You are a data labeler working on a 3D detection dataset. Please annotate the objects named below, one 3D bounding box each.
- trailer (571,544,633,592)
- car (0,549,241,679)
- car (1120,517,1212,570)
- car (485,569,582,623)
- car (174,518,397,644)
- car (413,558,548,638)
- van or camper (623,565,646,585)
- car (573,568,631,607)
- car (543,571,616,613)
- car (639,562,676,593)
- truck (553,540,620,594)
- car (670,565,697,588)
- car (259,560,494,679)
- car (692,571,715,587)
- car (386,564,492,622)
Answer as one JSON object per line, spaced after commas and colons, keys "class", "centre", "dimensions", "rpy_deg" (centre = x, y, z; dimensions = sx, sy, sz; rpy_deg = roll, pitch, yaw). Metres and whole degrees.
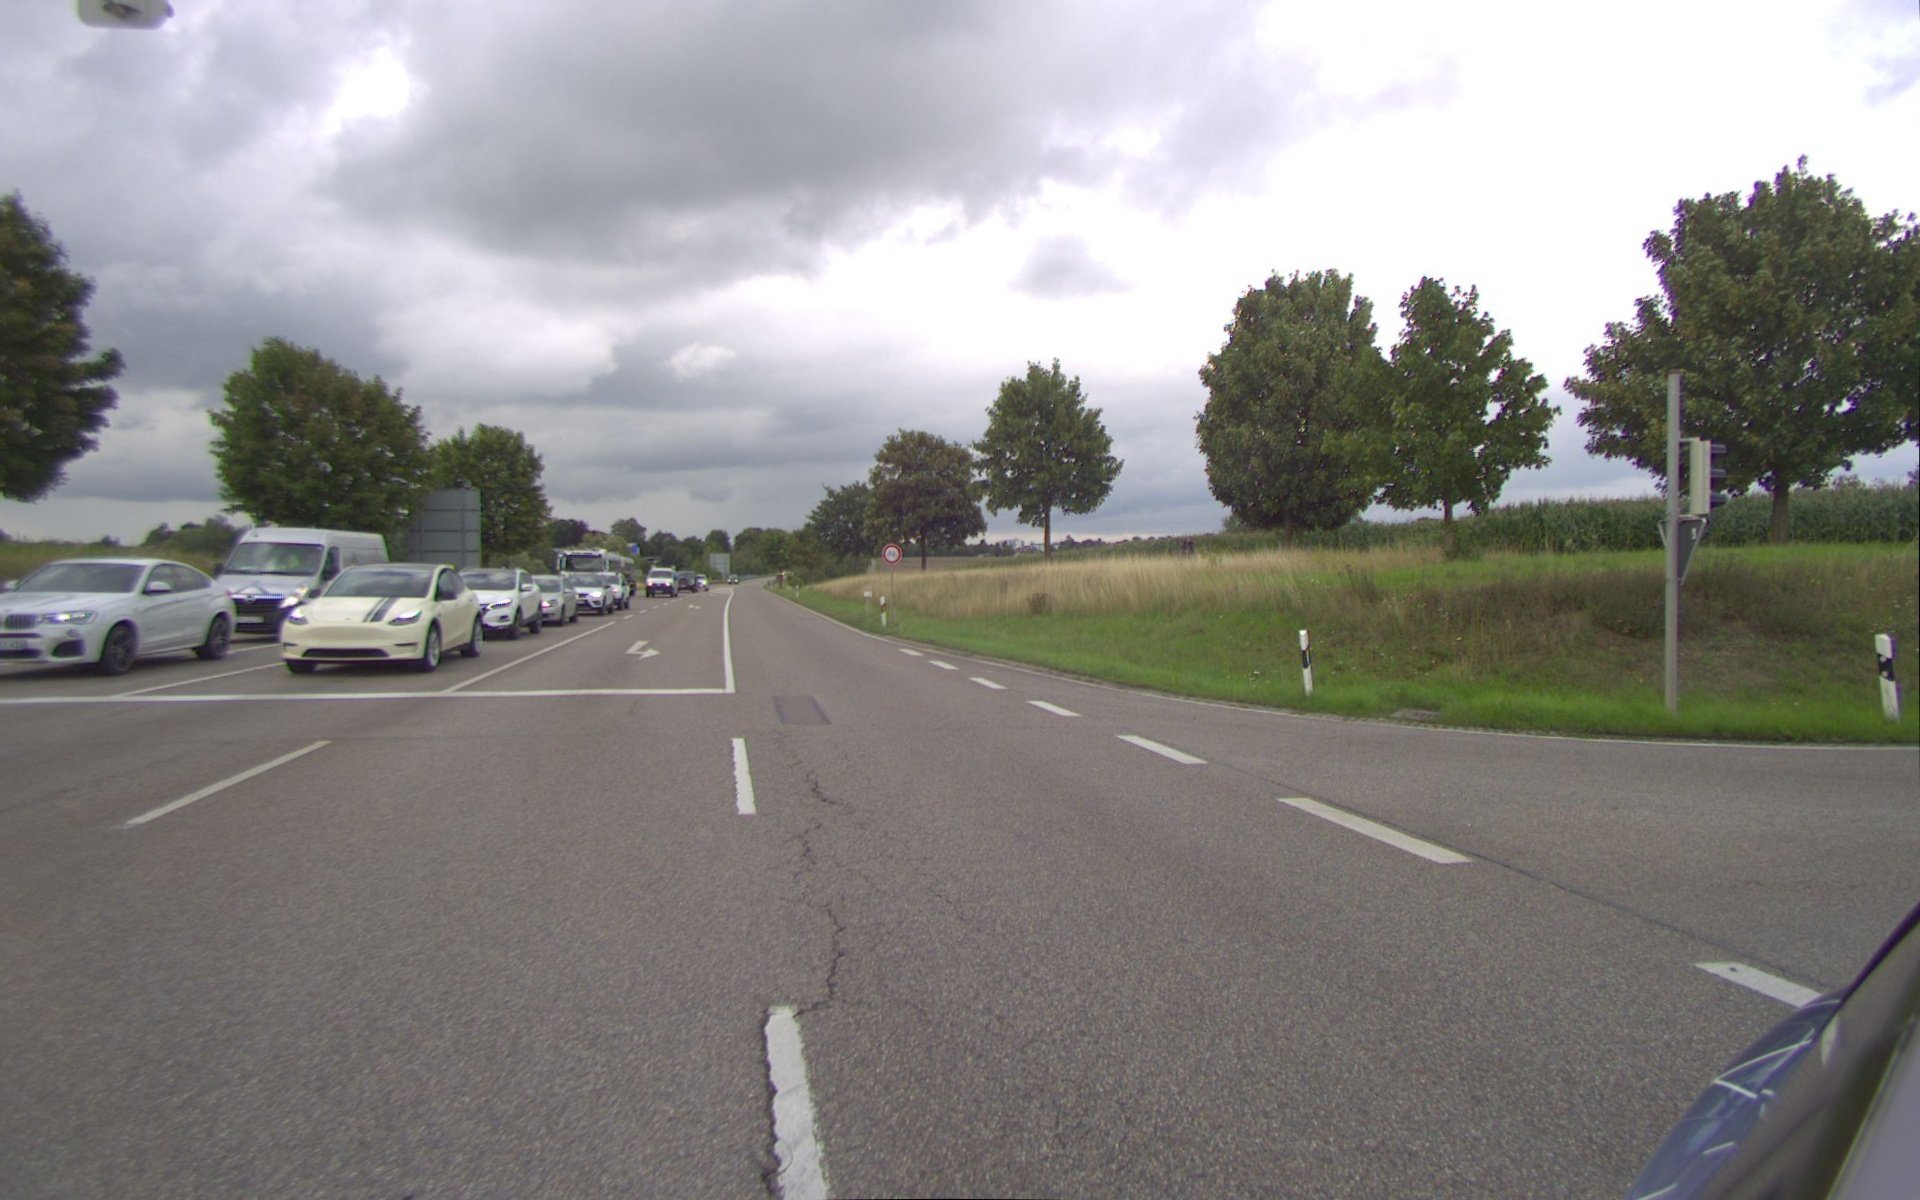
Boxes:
{"class": "trailer", "centre": [-25.176, -2.220, 71.577], "dimensions": [3.044, 3.129, 10.684], "rpy_deg": [0, 1, -13]}
{"class": "car", "centre": [-12.692, 0.127, 14.921], "dimensions": [1.958, 1.649, 4.284], "rpy_deg": [1, 1, -14]}
{"class": "car", "centre": [8.641, -2.354, 42.781], "dimensions": [1.958, 2.038, 4.009], "rpy_deg": [-2, 2, -21]}
{"class": "car", "centre": [-12.494, -0.161, 29.923], "dimensions": [1.958, 1.473, 4.591], "rpy_deg": [0, 1, -14]}
{"class": "car", "centre": [-14.962, -0.472, 22.946], "dimensions": [2.348, 2.472, 5.525], "rpy_deg": [-1, 2, -13]}
{"class": "car", "centre": [-11.032, -0.106, 23.614], "dimensions": [1.958, 1.649, 4.332], "rpy_deg": [-1, 2, -13]}
{"class": "van or camper", "centre": [-35.011, -2.683, 109.057], "dimensions": [1.958, 2.038, 4.008], "rpy_deg": [-2, 2, -13]}
{"class": "car", "centre": [-15.419, -0.572, 43.794], "dimensions": [1.958, 1.612, 4.457], "rpy_deg": [0, 1, -14]}
{"class": "car", "centre": [-14.099, -0.337, 37.739], "dimensions": [1.958, 1.436, 4.456], "rpy_deg": [0, 1, -12]}
{"class": "car", "centre": [-20.814, -1.543, 69.784], "dimensions": [2.125, 2.038, 4.690], "rpy_deg": [0, 1, -12]}
{"class": "truck", "centre": [-23.066, -2.007, 62.777], "dimensions": [3.044, 3.148, 7.423], "rpy_deg": [0, 1, -13]}
{"class": "car", "centre": [-24.862, -2.091, 91.184], "dimensions": [2.125, 2.038, 4.537], "rpy_deg": [0, 1, -12]}
{"class": "car", "centre": [-9.042, 0.194, 16.182], "dimensions": [1.958, 1.584, 4.759], "rpy_deg": [-1, 2, -14]}
{"class": "car", "centre": [-26.314, -2.194, 103.750], "dimensions": [2.124, 1.616, 4.766], "rpy_deg": [0, 1, -17]}
{"class": "car", "centre": [-16.161, -0.277, 31.625], "dimensions": [1.958, 1.649, 4.284], "rpy_deg": [-1, 2, -13]}
